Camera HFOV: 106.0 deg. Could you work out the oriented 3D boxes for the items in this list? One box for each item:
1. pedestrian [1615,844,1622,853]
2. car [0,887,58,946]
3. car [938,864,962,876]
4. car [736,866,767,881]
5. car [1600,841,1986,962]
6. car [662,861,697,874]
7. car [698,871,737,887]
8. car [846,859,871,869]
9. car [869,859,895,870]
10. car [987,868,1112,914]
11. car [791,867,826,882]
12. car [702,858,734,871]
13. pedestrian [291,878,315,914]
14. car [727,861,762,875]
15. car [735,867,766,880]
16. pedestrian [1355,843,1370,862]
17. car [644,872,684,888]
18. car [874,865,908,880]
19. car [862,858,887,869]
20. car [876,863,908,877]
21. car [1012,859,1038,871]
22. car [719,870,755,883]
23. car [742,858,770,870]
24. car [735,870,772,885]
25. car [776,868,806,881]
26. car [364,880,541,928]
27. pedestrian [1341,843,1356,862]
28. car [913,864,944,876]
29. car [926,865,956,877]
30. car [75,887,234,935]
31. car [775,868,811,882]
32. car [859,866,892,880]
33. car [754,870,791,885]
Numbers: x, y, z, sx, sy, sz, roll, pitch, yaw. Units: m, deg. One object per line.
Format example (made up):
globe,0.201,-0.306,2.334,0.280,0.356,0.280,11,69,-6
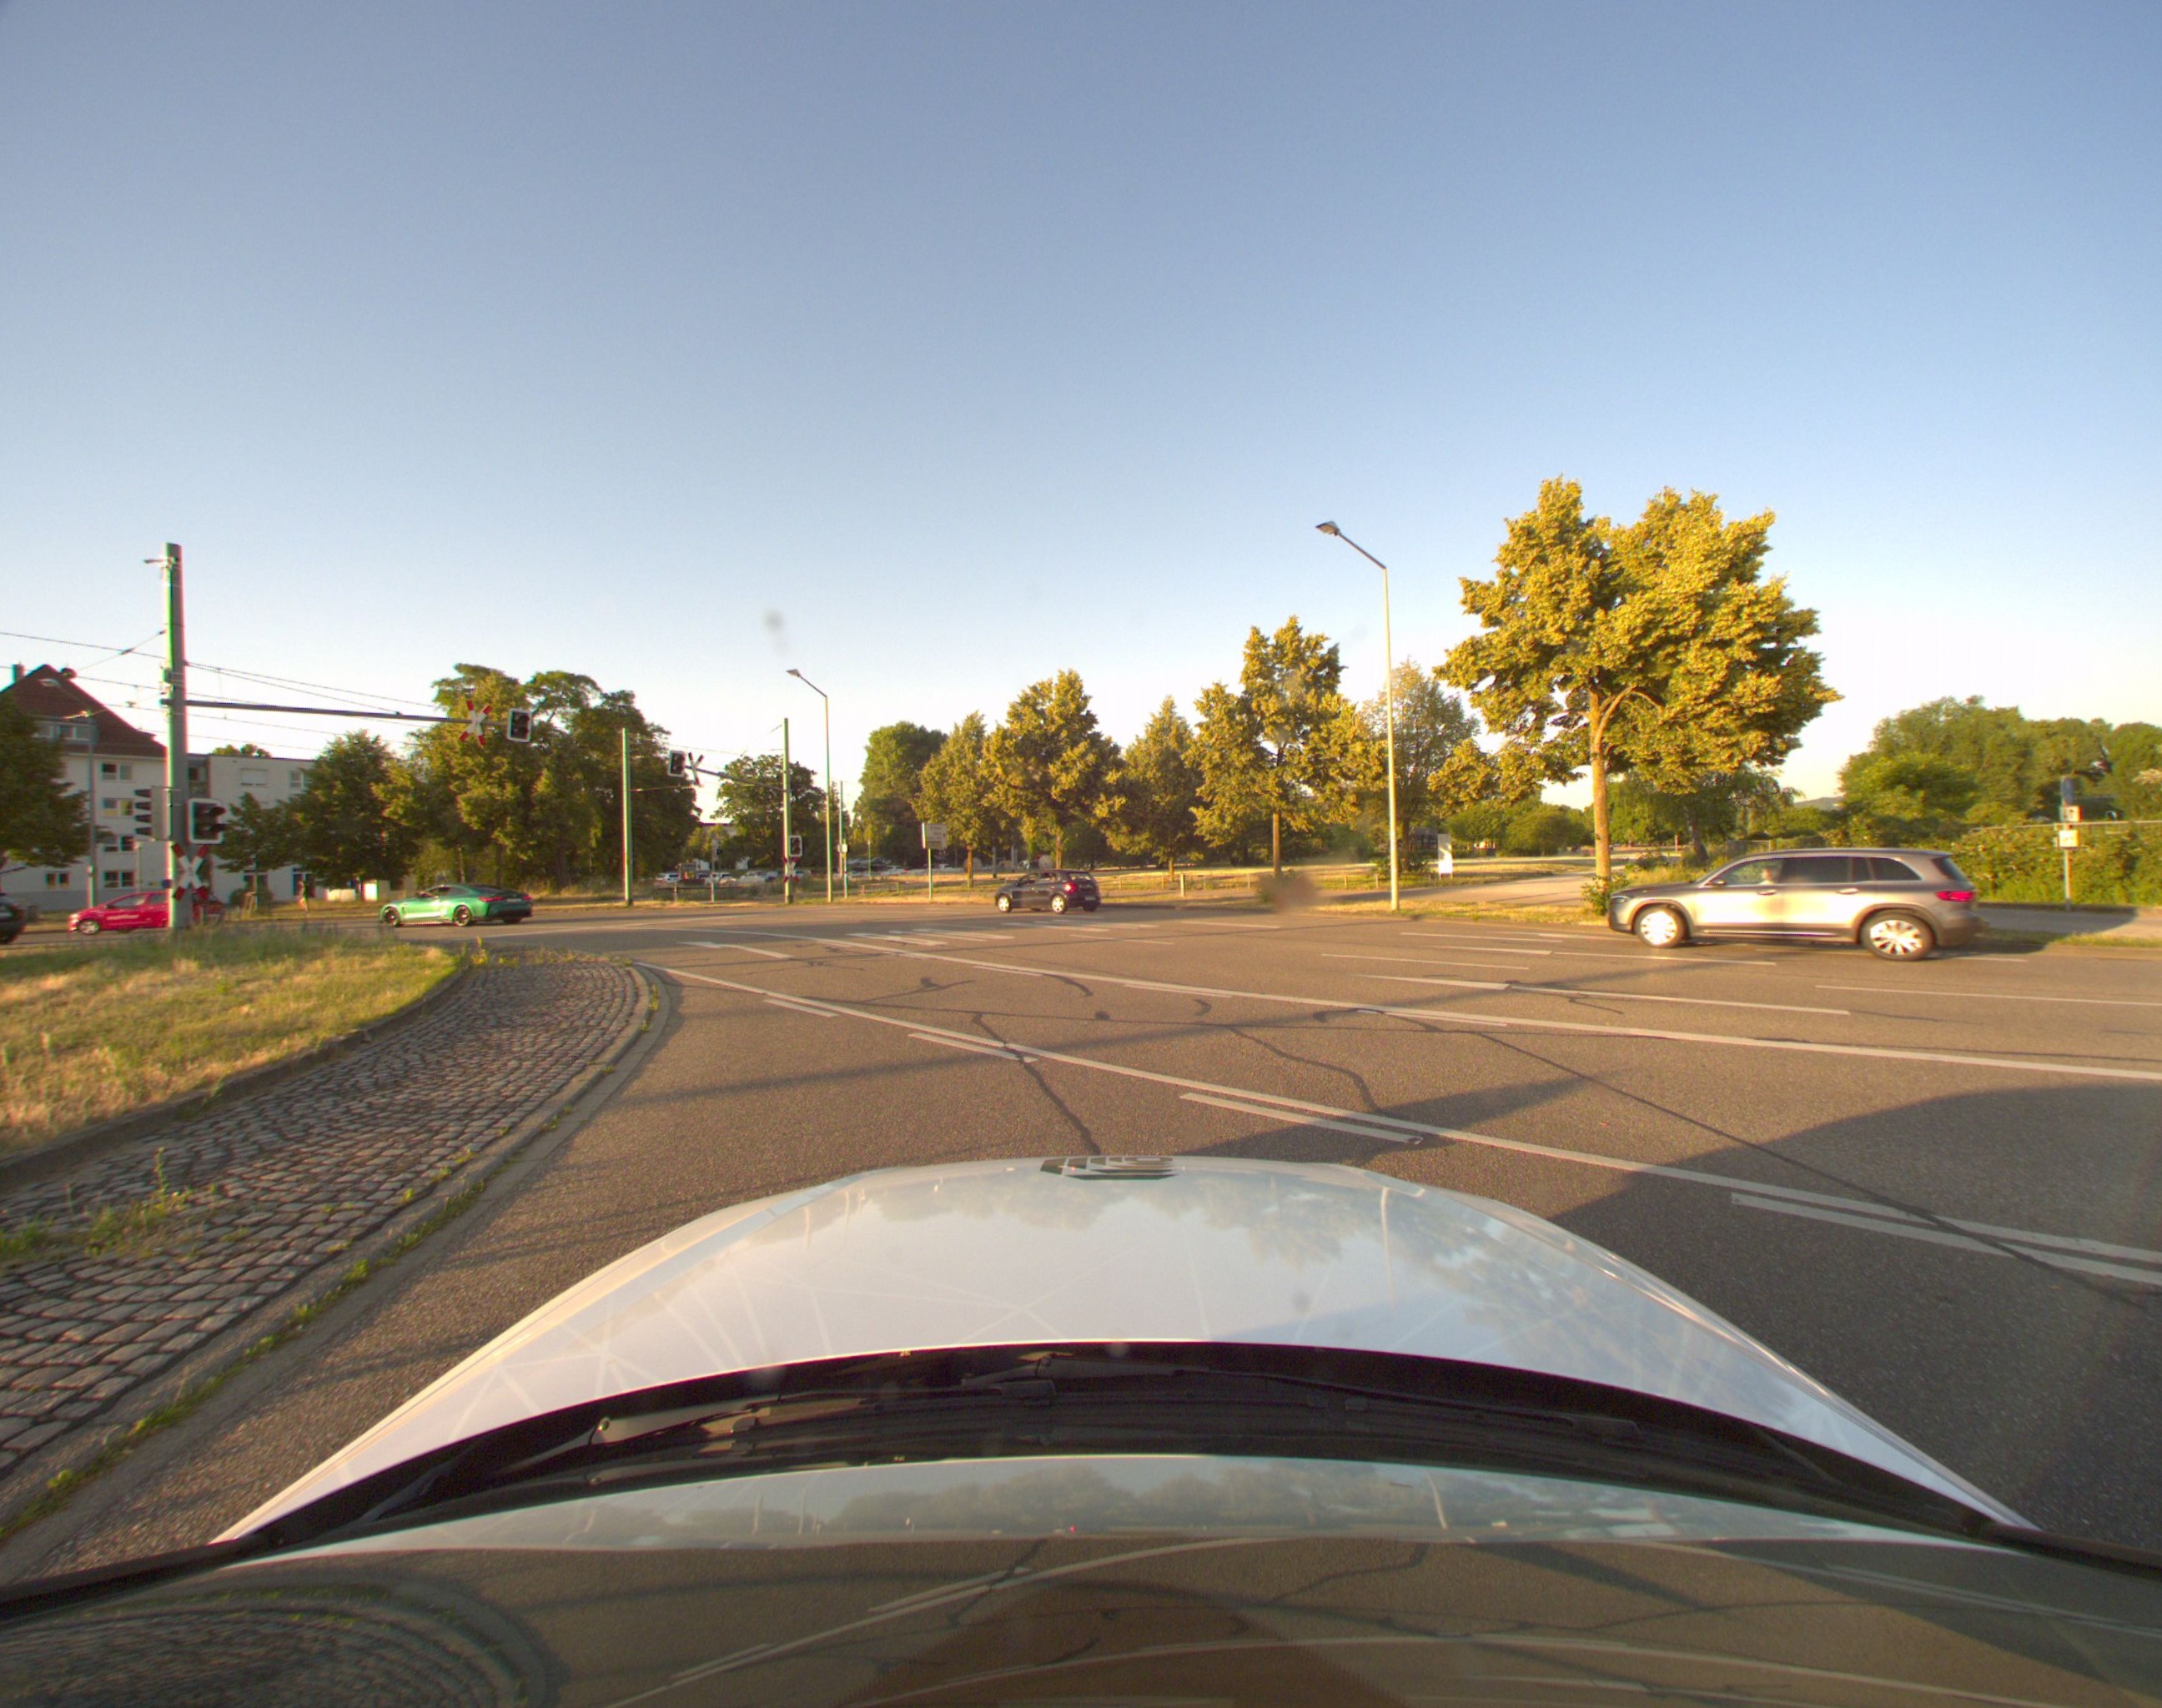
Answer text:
pedestrian,101.284,-0.969,153.484,0.844,1.661,0.984,-2,-1,45
car,-32.125,1.826,22.772,3.992,1.584,1.887,-2,0,-14
car,-20.864,2.520,129.985,2.008,1.752,4.549,-1,1,-35
car,-47.689,2.765,117.763,4.006,2.013,1.984,-2,0,-24
car,11.361,0.684,13.362,4.468,1.637,2.012,-2,0,43
car,-65.688,2.228,133.315,1.974,2.013,4.627,-2,0,32
car,-39.040,2.680,87.536,3.948,1.604,2.013,-2,0,34
car,-41.774,1.879,153.016,1.974,1.816,4.026,-2,0,37
car,-35.708,1.880,146.431,3.964,1.706,2.005,-2,0,8
car,-1.096,1.180,26.742,3.948,1.354,1.705,-2,0,40
car,-32.654,2.453,97.605,3.948,1.604,2.013,-2,0,34
car,-61.950,1.782,139.054,1.974,2.013,4.628,-2,0,36
pedestrian,-40.917,2.198,42.818,0.666,1.893,0.619,0,-1,-4
car,-51.905,2.117,125.796,1.974,2.013,4.627,-2,0,32
car,-46.251,2.778,113.937,4.005,1.662,1.984,-2,0,-24
pedestrian,24.989,-0.135,72.254,1.064,1.617,0.911,-2,0,4
car,-42.670,2.672,83.318,3.948,1.604,2.013,-2,0,34
car,-27.673,2.677,118.508,4.578,2.013,1.995,-2,0,-7
car,-37.985,1.769,150.037,1.975,2.013,4.025,-2,0,42
car,-29.400,2.407,126.695,4.578,2.013,1.995,-2,0,-7
car,-7.977,1.515,115.261,1.748,1.618,3.954,-1,0,-39
car,-46.135,3.009,109.138,1.878,1.662,4.026,-2,0,37
car,-57.862,1.798,144.926,1.974,2.013,4.143,-2,0,36
car,-37.071,2.702,92.056,3.948,1.604,2.013,-2,0,34
car,-41.321,2.876,115.990,4.001,1.662,1.889,-2,0,-20
car,-20.419,1.608,26.513,4.686,1.371,2.008,-2,0,14
pedestrian,23.914,-0.118,72.739,1.064,1.617,0.911,-2,0,4
car,-21.489,2.308,114.783,3.948,1.604,2.013,-2,0,34
car,-20.014,2.365,116.478,3.948,1.604,2.013,-2,0,34
car,-33.858,2.057,29.873,3.487,1.500,1.633,-2,0,-17
car,-33.719,2.444,95.425,3.948,1.604,2.013,-2,0,34
car,-26.691,2.477,105.983,3.948,1.604,2.013,-2,0,34
car,-35.526,2.704,93.666,3.948,1.604,2.013,-2,0,34
